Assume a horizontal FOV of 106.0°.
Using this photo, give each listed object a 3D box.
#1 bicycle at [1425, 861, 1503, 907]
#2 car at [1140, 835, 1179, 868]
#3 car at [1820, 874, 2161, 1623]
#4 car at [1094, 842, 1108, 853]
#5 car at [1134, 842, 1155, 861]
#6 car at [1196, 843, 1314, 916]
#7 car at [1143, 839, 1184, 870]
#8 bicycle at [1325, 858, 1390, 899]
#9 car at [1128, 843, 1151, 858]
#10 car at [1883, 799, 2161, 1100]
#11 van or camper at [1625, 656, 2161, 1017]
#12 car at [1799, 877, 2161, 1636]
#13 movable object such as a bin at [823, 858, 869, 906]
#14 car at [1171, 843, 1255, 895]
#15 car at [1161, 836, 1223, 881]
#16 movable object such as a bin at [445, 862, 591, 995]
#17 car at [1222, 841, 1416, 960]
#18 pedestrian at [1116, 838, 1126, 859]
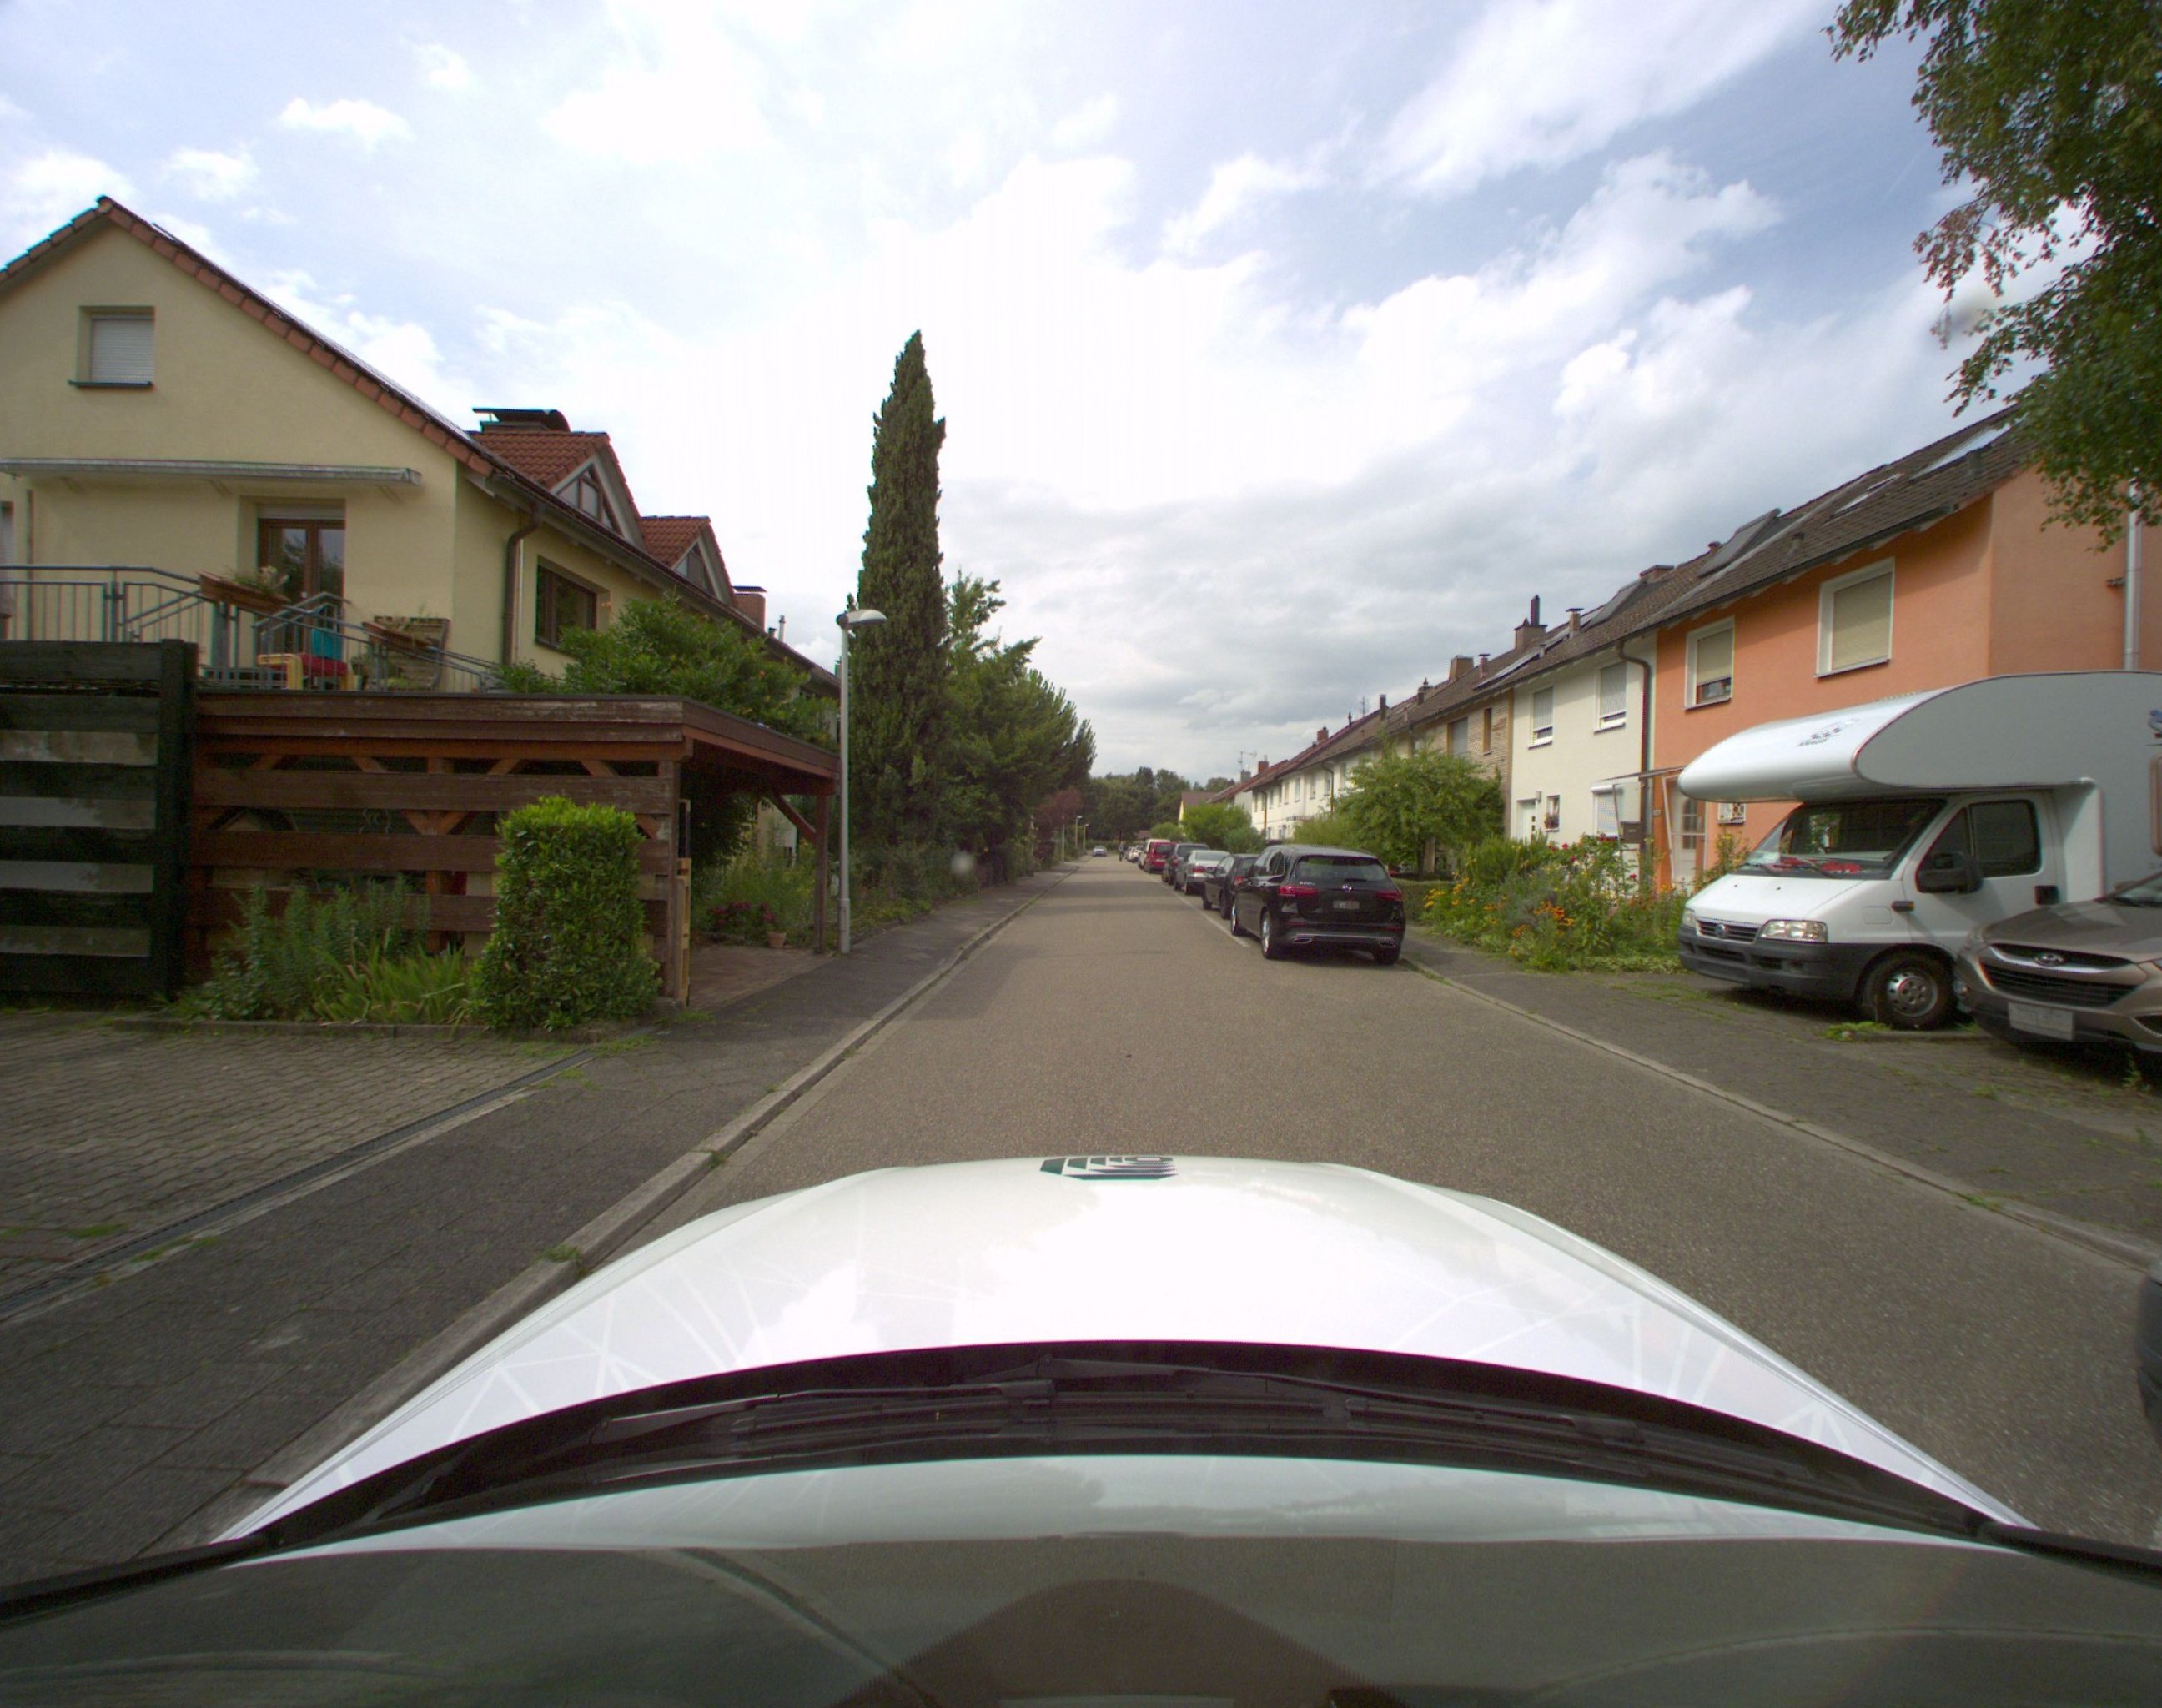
[{"bbox_3d":[8.908,0.669,19.008,0.661,0.982,1.742,0,1,-17],"label":"bicycle"},{"bbox_3d":[4.930,-0.181,51.683,2.014,1.947,4.747,0,1,0],"label":"car"},{"bbox_3d":[3.000,0.845,0.239,1.698,1.442,4.220,2,1,0],"label":"car"},{"bbox_3d":[2.855,-0.947,116.241,1.926,1.556,4.638,0,1,3],"label":"car"},{"bbox_3d":[5.560,-0.277,71.540,1.707,1.543,3.976,2,1,2],"label":"car"},{"bbox_3d":[3.747,0.478,18.212,1.727,1.428,4.125,1,1,0],"label":"car"},{"bbox_3d":[4.682,0.001,46.686,1.805,1.650,4.408,0,1,-2],"label":"car"},{"bbox_3d":[7.150,0.626,21.105,1.530,1.023,0.377,1,1,7],"label":"bicycle"},{"bbox_3d":[5.628,-0.365,78.891,1.832,1.412,4.635,0,1,-1],"label":"car"},{"bbox_3d":[8.470,0.574,5.273,4.510,1.707,1.902,1,1,4],"label":"car"},{"bbox_3d":[8.845,-0.153,7.601,5.771,2.817,2.540,0,1,4],"label":"van or camper"},{"bbox_3d":[3.007,0.854,0.334,1.736,1.470,4.218,1,1,1],"label":"car"},{"bbox_3d":[-4.867,0.562,16.929,0.709,0.956,0.751,1,1,1],"label":"movable object such as a bin"},{"bbox_3d":[4.099,0.398,26.076,1.862,1.407,4.767,3,1,0],"label":"car"},{"bbox_3d":[4.335,0.135,32.514,1.861,1.653,4.464,1,1,0],"label":"car"},{"bbox_3d":[-5.149,0.649,7.502,0.701,1.130,0.878,0,1,1],"label":"movable object such as a bin"},{"bbox_3d":[3.387,0.550,12.559,1.743,1.467,4.650,1,1,2],"label":"car"},{"bbox_3d":[3.907,-0.555,78.922,0.944,2.013,0.916,1,1,3],"label":"pedestrian"}]
